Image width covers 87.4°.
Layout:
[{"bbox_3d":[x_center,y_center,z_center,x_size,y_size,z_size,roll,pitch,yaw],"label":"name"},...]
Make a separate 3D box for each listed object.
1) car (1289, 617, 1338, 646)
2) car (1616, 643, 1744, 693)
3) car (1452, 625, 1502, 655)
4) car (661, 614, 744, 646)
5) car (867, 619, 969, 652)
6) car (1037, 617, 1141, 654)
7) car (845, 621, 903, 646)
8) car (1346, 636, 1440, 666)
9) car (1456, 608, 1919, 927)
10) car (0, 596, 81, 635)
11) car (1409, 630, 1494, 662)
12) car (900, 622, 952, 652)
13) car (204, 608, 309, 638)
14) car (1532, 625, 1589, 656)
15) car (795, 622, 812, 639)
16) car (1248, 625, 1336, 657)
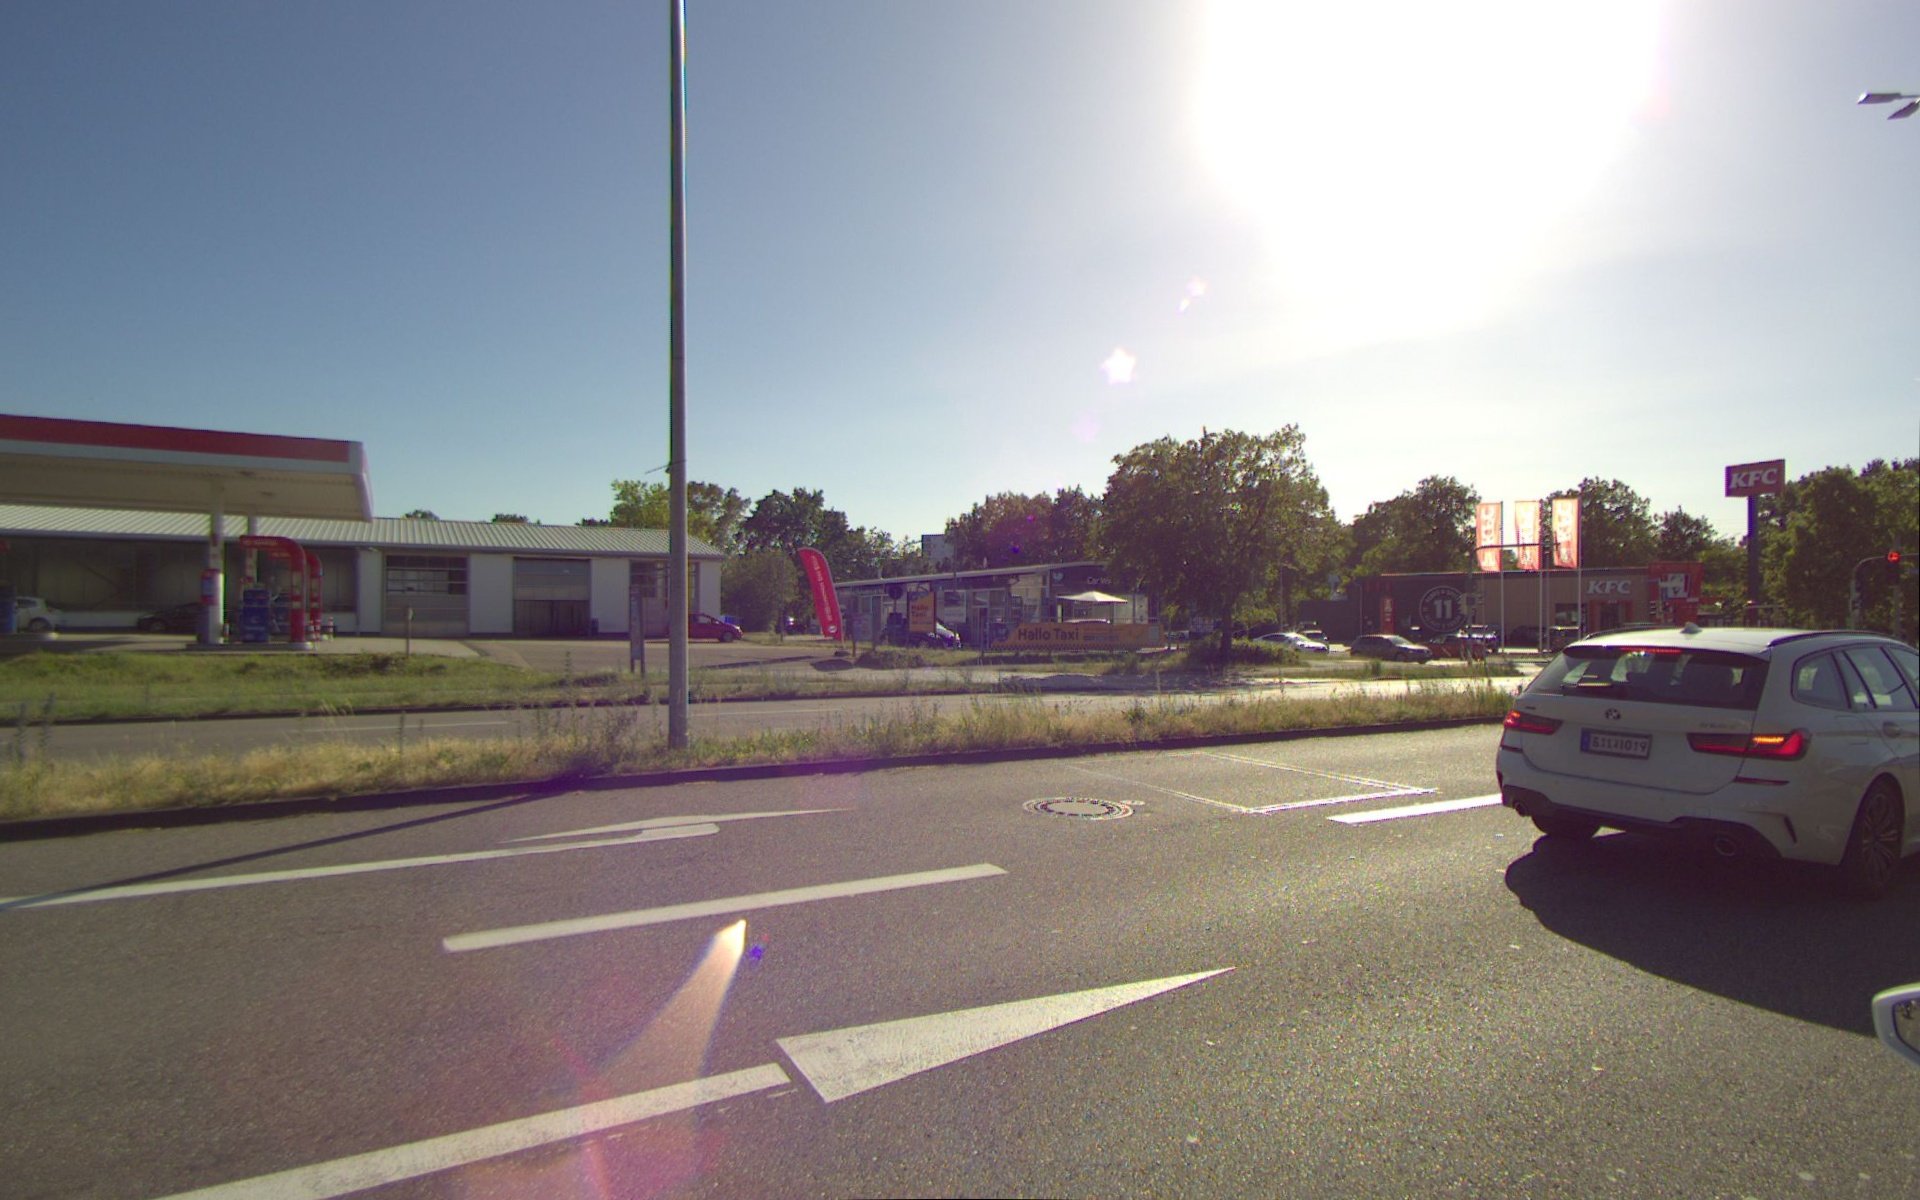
[{"bbox_3d":[23.732,2.097,67.550,1.960,1.837,3.773,2,0,1],"label":"car"},{"bbox_3d":[27.157,2.537,37.902,4.254,1.749,1.801,1,0,-18],"label":"car"},{"bbox_3d":[32.978,2.513,64.156,1.896,1.763,4.099,2,0,14],"label":"car"},{"bbox_3d":[-13.378,1.563,52.210,3.949,1.491,1.521,2,0,-24],"label":"car"},{"bbox_3d":[-1.784,1.469,42.148,3.930,1.193,1.774,2,0,32],"label":"car"},{"bbox_3d":[5.528,1.525,43.099,3.941,1.461,1.990,2,0,-21],"label":"car"},{"bbox_3d":[-5.060,1.962,58.666,1.736,1.268,4.020,2,0,-31],"label":"car"},{"bbox_3d":[21.917,2.581,51.021,1.850,1.268,4.062,2,0,-31],"label":"car"},{"bbox_3d":[5.600,0.885,6.766,4.541,1.506,1.804,2,0,-30],"label":"car"},{"bbox_3d":[-38.547,0.621,40.876,3.812,1.509,1.984,2,0,-30],"label":"car"},{"bbox_3d":[27.285,2.547,55.855,1.980,1.579,3.736,2,0,-34],"label":"car"},{"bbox_3d":[-1.902,2.015,55.216,1.516,1.461,3.123,2,0,-31],"label":"car"},{"bbox_3d":[-31.465,1.026,45.042,3.688,1.203,1.667,2,0,-30],"label":"car"},{"bbox_3d":[37.616,2.492,62.996,1.896,1.763,4.099,2,0,14],"label":"car"},{"bbox_3d":[-21.162,4.094,135.521,1.962,2.126,3.997,1,-1,-5],"label":"car"},{"bbox_3d":[18.864,2.329,57.246,1.914,1.600,4.599,2,0,-31],"label":"car"}]
